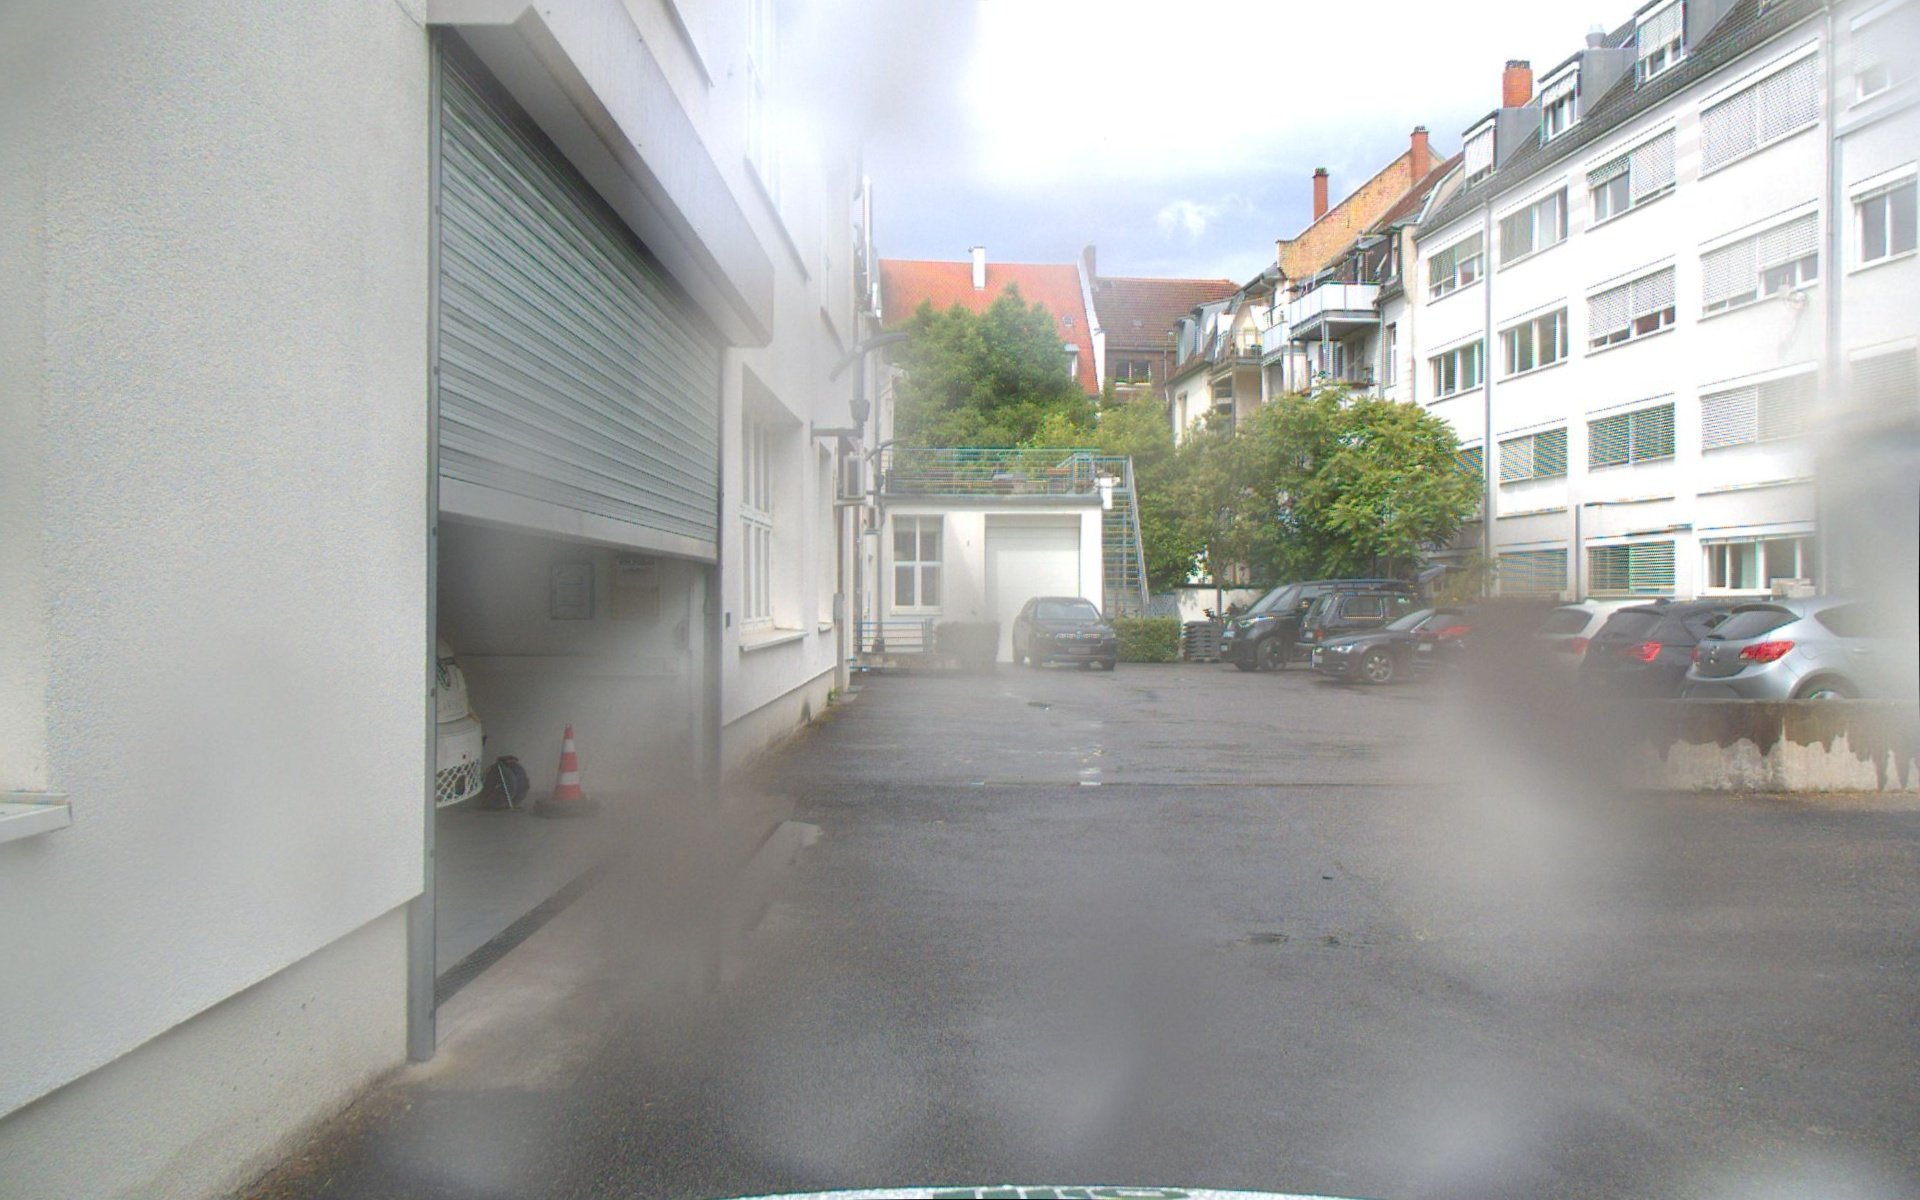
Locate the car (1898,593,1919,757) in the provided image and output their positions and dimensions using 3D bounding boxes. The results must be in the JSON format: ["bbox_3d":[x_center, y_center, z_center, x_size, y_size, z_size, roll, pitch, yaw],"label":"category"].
[{"bbox_3d":[10.175,0.606,14.130,3.347,1.452,1.687,-2,-1,-3],"label":"car"}]

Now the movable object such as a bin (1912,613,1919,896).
[{"bbox_3d":[5.151,0.713,7.231,1.343,1.327,1.083,-1,0,1],"label":"movable object such as a bin"}]

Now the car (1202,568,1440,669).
[{"bbox_3d":[7.814,0.373,36.025,4.552,2.038,2.219,-1,0,-11],"label":"car"}]

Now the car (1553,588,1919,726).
[{"bbox_3d":[9.317,0.628,19.605,3.910,1.427,1.771,-2,0,-6],"label":"car"}]

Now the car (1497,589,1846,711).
[{"bbox_3d":[9.437,0.638,22.095,3.910,1.484,1.771,-1,0,-6],"label":"car"}]

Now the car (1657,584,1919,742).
[{"bbox_3d":[9.480,0.586,16.936,3.908,1.471,1.805,-1,0,-4],"label":"car"}]

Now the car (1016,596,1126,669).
[{"bbox_3d":[2.321,0.660,35.536,1.939,1.469,3.998,0,0,-3],"label":"car"}]

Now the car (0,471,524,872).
[{"bbox_3d":[-5.150,0.350,9.679,4.594,2.049,2.084,1,0,-1],"label":"car"}]

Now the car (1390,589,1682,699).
[{"bbox_3d":[8.808,0.653,25.464,3.835,1.540,1.816,-1,-1,-8],"label":"car"}]

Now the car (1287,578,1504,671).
[{"bbox_3d":[8.710,0.487,33.268,3.830,1.717,1.816,-1,-1,-2],"label":"car"}]

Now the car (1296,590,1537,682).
[{"bbox_3d":[8.222,0.635,29.972,3.833,1.540,1.750,-1,-1,-6],"label":"car"}]
